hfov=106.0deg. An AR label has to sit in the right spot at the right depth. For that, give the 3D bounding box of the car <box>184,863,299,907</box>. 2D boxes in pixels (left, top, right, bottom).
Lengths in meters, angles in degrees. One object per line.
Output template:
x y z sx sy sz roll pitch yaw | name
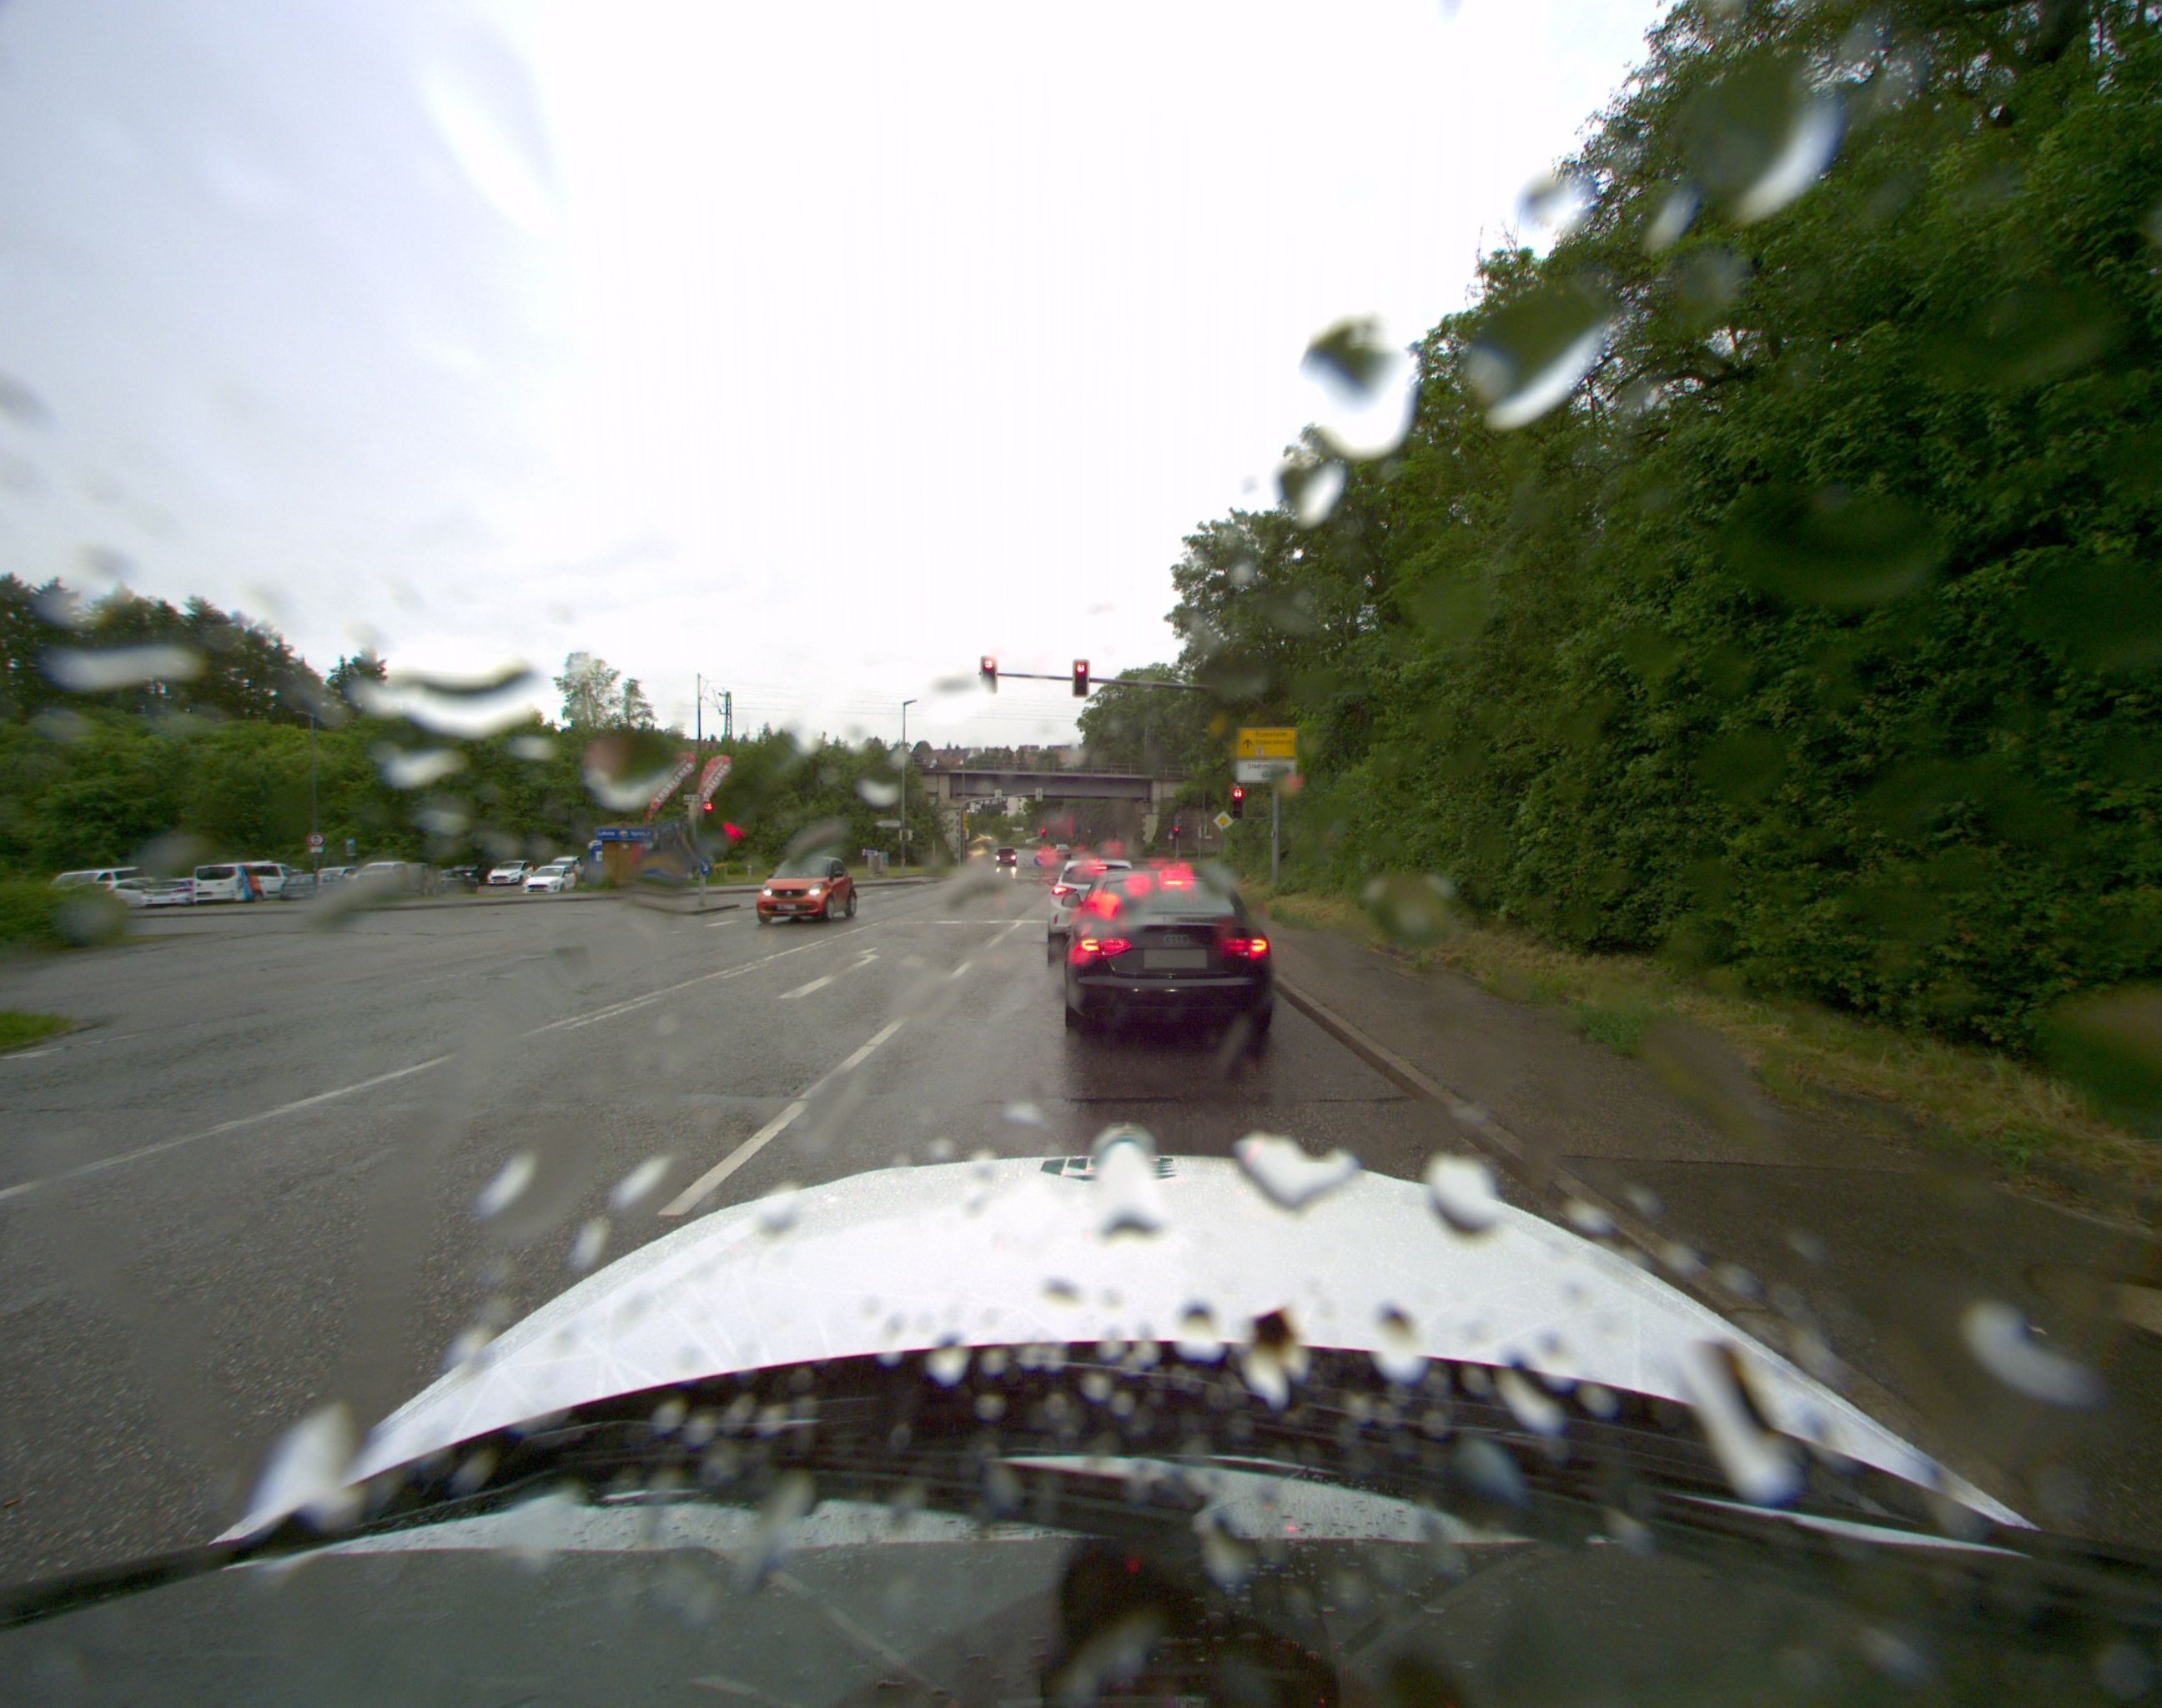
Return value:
-39.441 1.419 38.406 1.997 1.949 3.978 0 -1 -16 | car

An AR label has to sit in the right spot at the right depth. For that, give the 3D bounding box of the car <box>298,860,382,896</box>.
-44.768 1.427 49.327 1.995 2.013 3.983 -2 0 -12 | car

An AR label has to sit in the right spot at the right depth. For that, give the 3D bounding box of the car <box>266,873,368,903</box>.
-37.163 1.624 39.749 1.751 1.310 3.984 0 -1 -11 | car

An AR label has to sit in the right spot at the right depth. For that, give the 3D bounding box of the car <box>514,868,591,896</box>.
-27.733 1.435 42.900 1.652 1.340 4.883 0 -1 -11 | car

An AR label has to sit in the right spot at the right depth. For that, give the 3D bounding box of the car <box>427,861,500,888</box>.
-37.948 1.271 50.188 1.994 1.585 3.984 0 -1 -11 | car

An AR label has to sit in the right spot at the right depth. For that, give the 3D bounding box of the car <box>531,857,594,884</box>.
-32.611 0.985 51.349 1.994 1.585 3.985 -2 0 -11 | car

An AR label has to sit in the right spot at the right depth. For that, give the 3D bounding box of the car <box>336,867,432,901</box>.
-34.613 1.473 40.596 1.937 1.585 3.892 0 -1 -11 | car

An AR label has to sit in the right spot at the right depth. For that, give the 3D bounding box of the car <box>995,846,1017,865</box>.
-6.979 0.145 75.878 1.990 1.628 3.993 -1 0 -5 | car

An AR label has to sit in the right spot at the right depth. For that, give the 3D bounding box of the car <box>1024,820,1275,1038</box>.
0.575 0.564 8.153 1.863 1.616 4.001 -1 0 2 | car

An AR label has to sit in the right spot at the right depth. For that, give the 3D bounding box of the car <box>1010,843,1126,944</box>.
-0.150 0.659 14.872 1.816 1.585 4.001 -1 -1 2 | car

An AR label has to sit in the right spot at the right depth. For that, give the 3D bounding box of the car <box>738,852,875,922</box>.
-6.770 0.785 20.587 1.986 1.585 4.001 -1 -1 2 | car

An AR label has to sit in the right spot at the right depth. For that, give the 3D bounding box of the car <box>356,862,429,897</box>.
-42.168 1.497 50.005 1.941 2.013 3.849 0 0 -15 | car

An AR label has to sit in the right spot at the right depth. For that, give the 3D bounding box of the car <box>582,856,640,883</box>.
-30.375 0.984 52.751 1.994 1.585 3.985 -2 0 -11 | car

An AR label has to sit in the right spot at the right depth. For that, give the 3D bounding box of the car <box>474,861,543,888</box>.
-35.384 1.245 50.460 1.994 1.585 3.984 0 -1 -11 | car

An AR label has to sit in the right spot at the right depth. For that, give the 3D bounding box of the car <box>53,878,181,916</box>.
-44.362 1.930 37.621 1.837 1.585 3.978 0 -1 -16 | car

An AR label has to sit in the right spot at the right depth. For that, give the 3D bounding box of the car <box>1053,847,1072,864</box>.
-2.111 0.167 90.472 1.802 1.742 4.472 -1 -1 -5 | car

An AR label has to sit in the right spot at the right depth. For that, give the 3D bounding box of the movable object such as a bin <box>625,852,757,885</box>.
-20.899 0.752 43.834 2.716 1.628 5.816 -2 -1 41 | movable object such as a bin

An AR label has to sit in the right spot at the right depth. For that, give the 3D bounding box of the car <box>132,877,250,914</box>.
-41.728 1.892 38.328 1.858 1.585 3.978 0 -1 -16 | car
